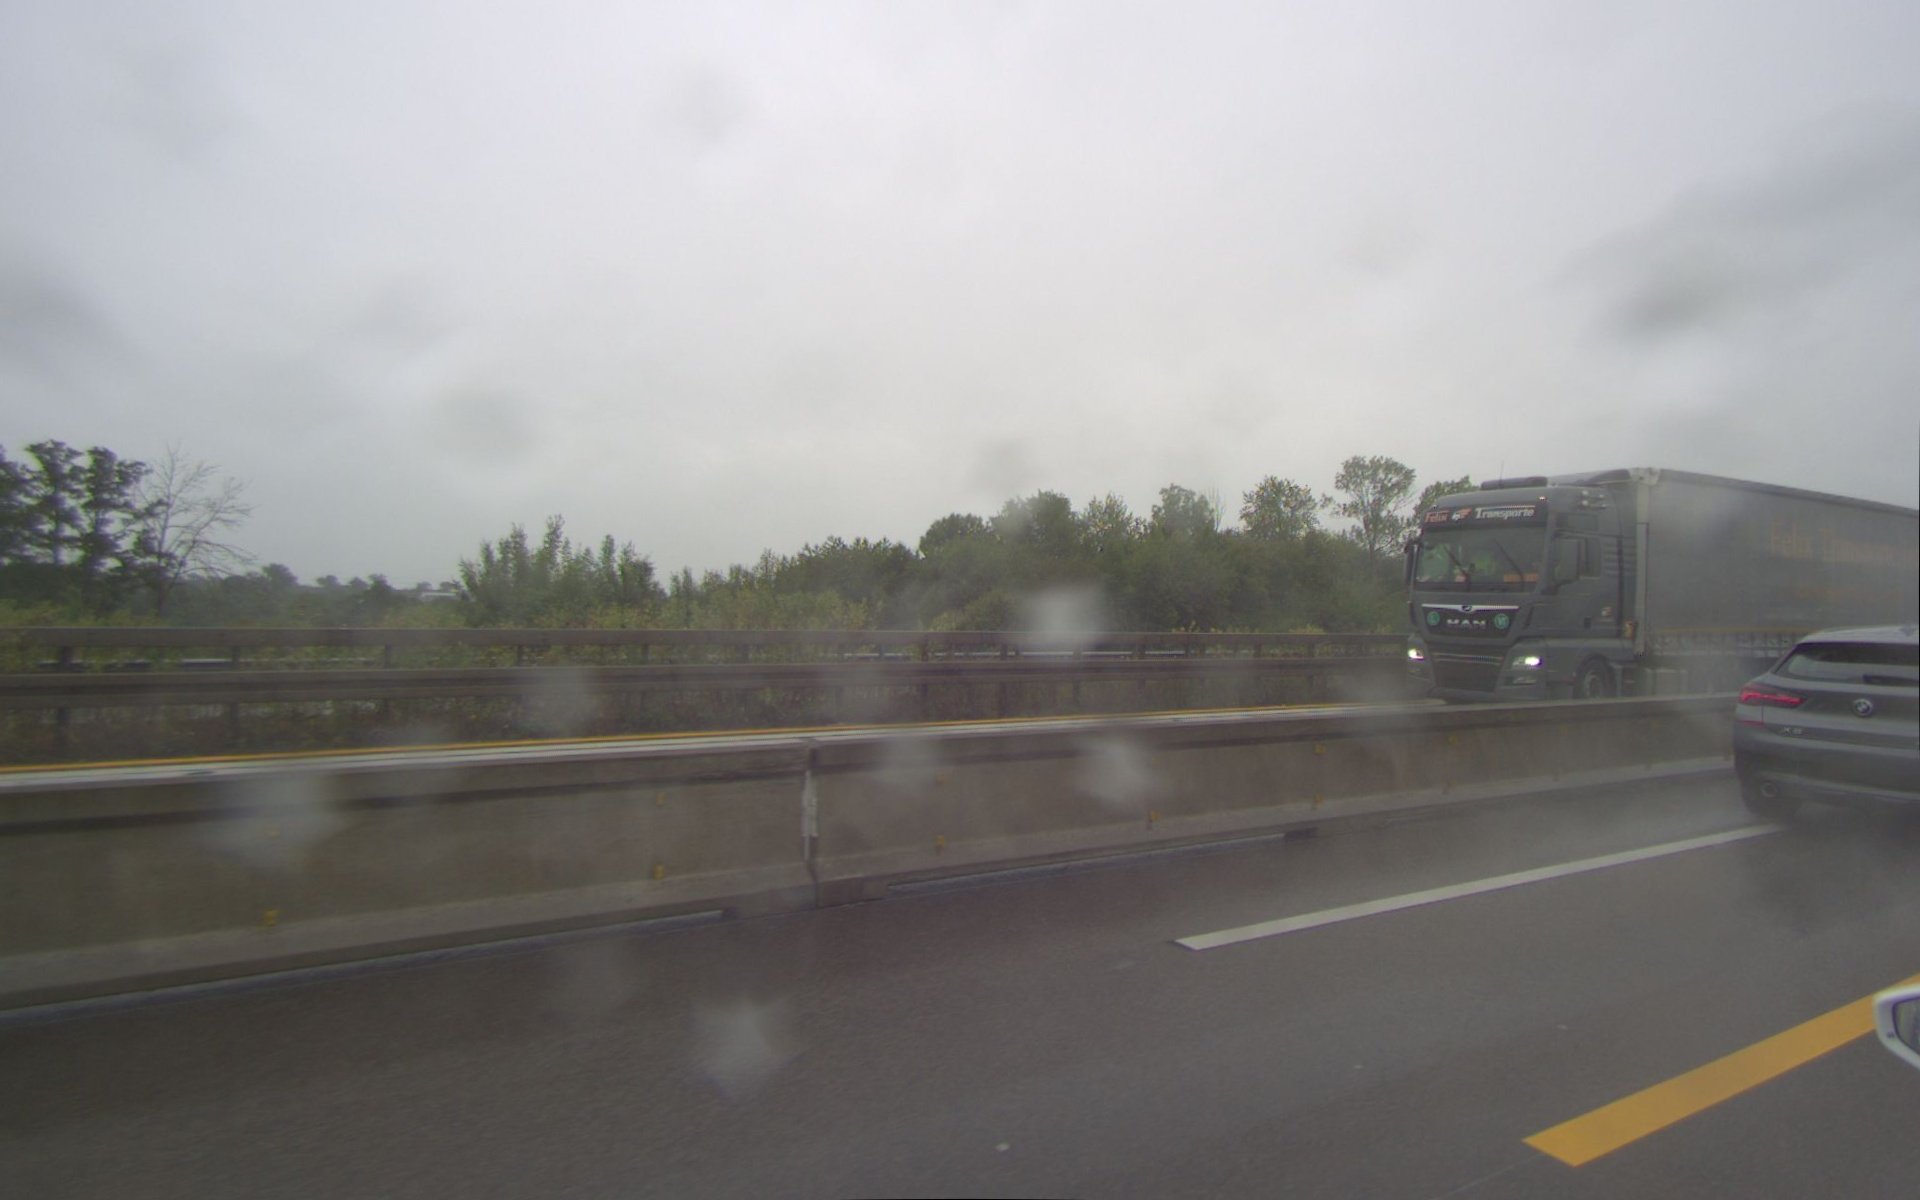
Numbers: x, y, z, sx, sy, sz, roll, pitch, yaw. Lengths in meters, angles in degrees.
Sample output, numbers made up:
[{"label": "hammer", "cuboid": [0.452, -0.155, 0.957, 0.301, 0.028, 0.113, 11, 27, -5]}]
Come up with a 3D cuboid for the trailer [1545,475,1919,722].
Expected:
[{"label": "trailer", "cuboid": [17.129, 0.179, 21.129, 12.170, 4.163, 2.637, 2, -1, -30]}]

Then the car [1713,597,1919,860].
[{"label": "car", "cuboid": [7.839, 0.843, 7.654, 4.789, 1.619, 1.692, 1, -1, -31]}]

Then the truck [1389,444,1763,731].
[{"label": "truck", "cuboid": [10.773, -0.075, 17.406, 6.616, 4.181, 2.630, 2, -1, -30]}]
